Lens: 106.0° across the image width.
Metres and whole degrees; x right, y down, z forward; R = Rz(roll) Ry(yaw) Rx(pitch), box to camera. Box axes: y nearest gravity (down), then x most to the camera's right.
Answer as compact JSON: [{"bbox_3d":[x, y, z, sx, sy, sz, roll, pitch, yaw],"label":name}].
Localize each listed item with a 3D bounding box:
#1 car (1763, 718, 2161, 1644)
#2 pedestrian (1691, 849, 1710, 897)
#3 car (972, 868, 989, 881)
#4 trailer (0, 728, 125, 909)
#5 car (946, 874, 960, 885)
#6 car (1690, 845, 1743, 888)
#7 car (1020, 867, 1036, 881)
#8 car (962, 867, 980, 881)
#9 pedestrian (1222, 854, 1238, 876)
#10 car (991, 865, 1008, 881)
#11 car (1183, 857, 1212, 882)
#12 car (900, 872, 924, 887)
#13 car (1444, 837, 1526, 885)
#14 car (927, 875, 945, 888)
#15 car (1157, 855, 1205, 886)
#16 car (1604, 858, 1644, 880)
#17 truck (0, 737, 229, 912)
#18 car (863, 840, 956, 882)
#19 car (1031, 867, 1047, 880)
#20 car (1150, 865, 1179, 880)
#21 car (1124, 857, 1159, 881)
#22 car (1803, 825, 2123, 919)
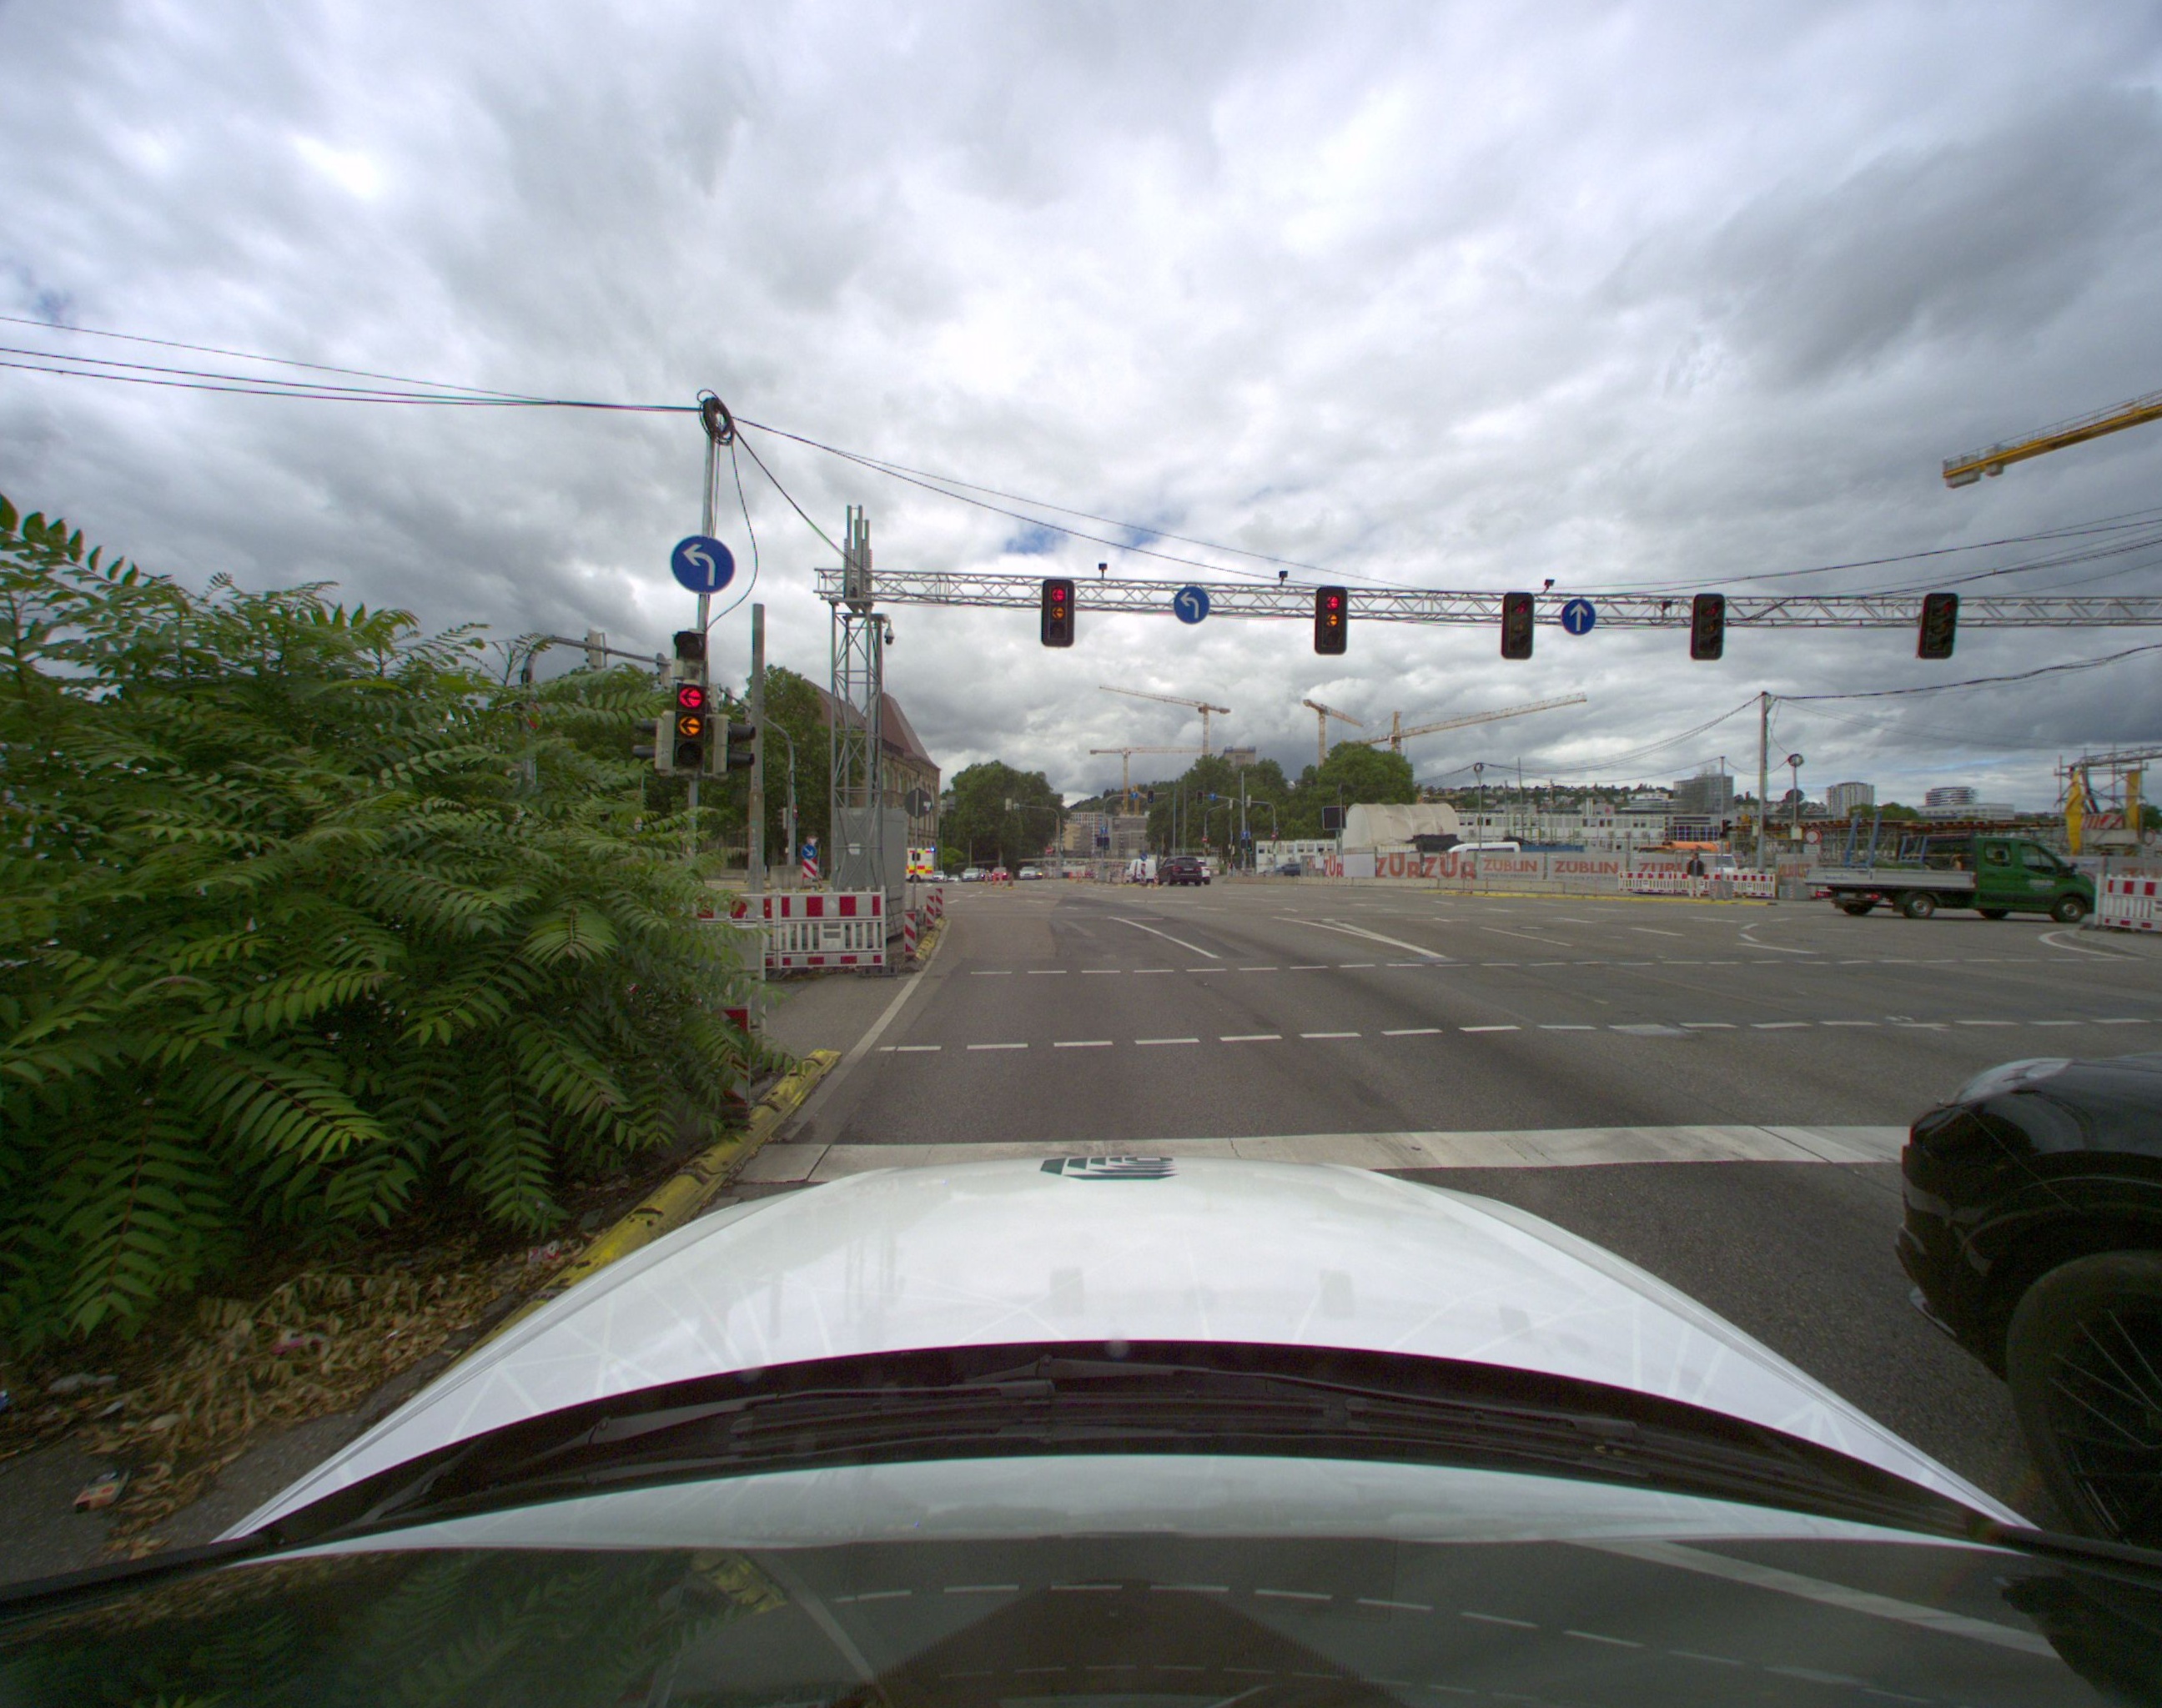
[{"bbox_3d":[2.863,0.590,0.145,1.817,1.715,4.486,0,-1,2],"label":"car"},{"bbox_3d":[25.692,0.790,33.784,0.581,1.976,0.437,0,0,43],"label":"pedestrian"},{"bbox_3d":[-11.389,2.280,92.164,1.673,1.398,3.677,0,-1,-4],"label":"car"},{"bbox_3d":[-32.418,-0.774,20.008,13.708,4.281,2.945,0,-1,-3],"label":"trailer"},{"bbox_3d":[-17.548,3.448,111.845,1.673,1.398,3.677,0,-1,-4],"label":"car"},{"bbox_3d":[30.138,0.562,38.702,1.755,1.954,3.146,-1,-1,34],"label":"car"},{"bbox_3d":[-5.579,2.080,85.346,1.673,1.398,3.677,0,-1,-4],"label":"car"},{"bbox_3d":[-11.613,2.130,86.080,1.673,1.398,3.677,0,-1,-4],"label":"car"},{"bbox_3d":[13.988,1.041,76.392,1.094,2.014,1.181,0,-1,-10],"label":"pedestrian"},{"bbox_3d":[-8.473,2.008,85.095,1.673,1.580,3.677,0,-1,-4],"label":"car"},{"bbox_3d":[8.184,1.102,57.442,1.670,1.702,3.375,-1,-1,2],"label":"car"},{"bbox_3d":[-16.874,2.513,81.547,1.670,1.398,3.682,0,-1,0],"label":"car"},{"bbox_3d":[23.236,0.426,46.976,3.957,2.662,1.688,-1,-1,15],"label":"car"},{"bbox_3d":[-17.451,3.326,98.291,1.672,1.398,3.679,0,-1,-2],"label":"car"},{"bbox_3d":[5.929,0.947,48.772,1.830,1.746,4.244,0,-1,-8],"label":"car"},{"bbox_3d":[39.809,1.087,59.815,1.661,1.528,4.021,-1,-1,22],"label":"car"},{"bbox_3d":[-25.341,-0.672,20.336,4.864,4.064,2.942,0,-1,-3],"label":"truck"},{"bbox_3d":[-13.119,0.503,62.273,6.753,3.052,2.358,0,-1,-17],"label":"car"},{"bbox_3d":[-4.762,2.208,92.288,1.673,1.398,3.677,0,-1,-4],"label":"car"},{"bbox_3d":[7.766,1.690,75.881,1.680,1.398,3.069,0,-1,-16],"label":"car"},{"bbox_3d":[4.304,1.050,58.496,1.814,1.625,3.992,0,-1,-5],"label":"car"},{"bbox_3d":[23.000,0.456,21.469,5.733,2.305,2.306,0,-1,3],"label":"car"}]
